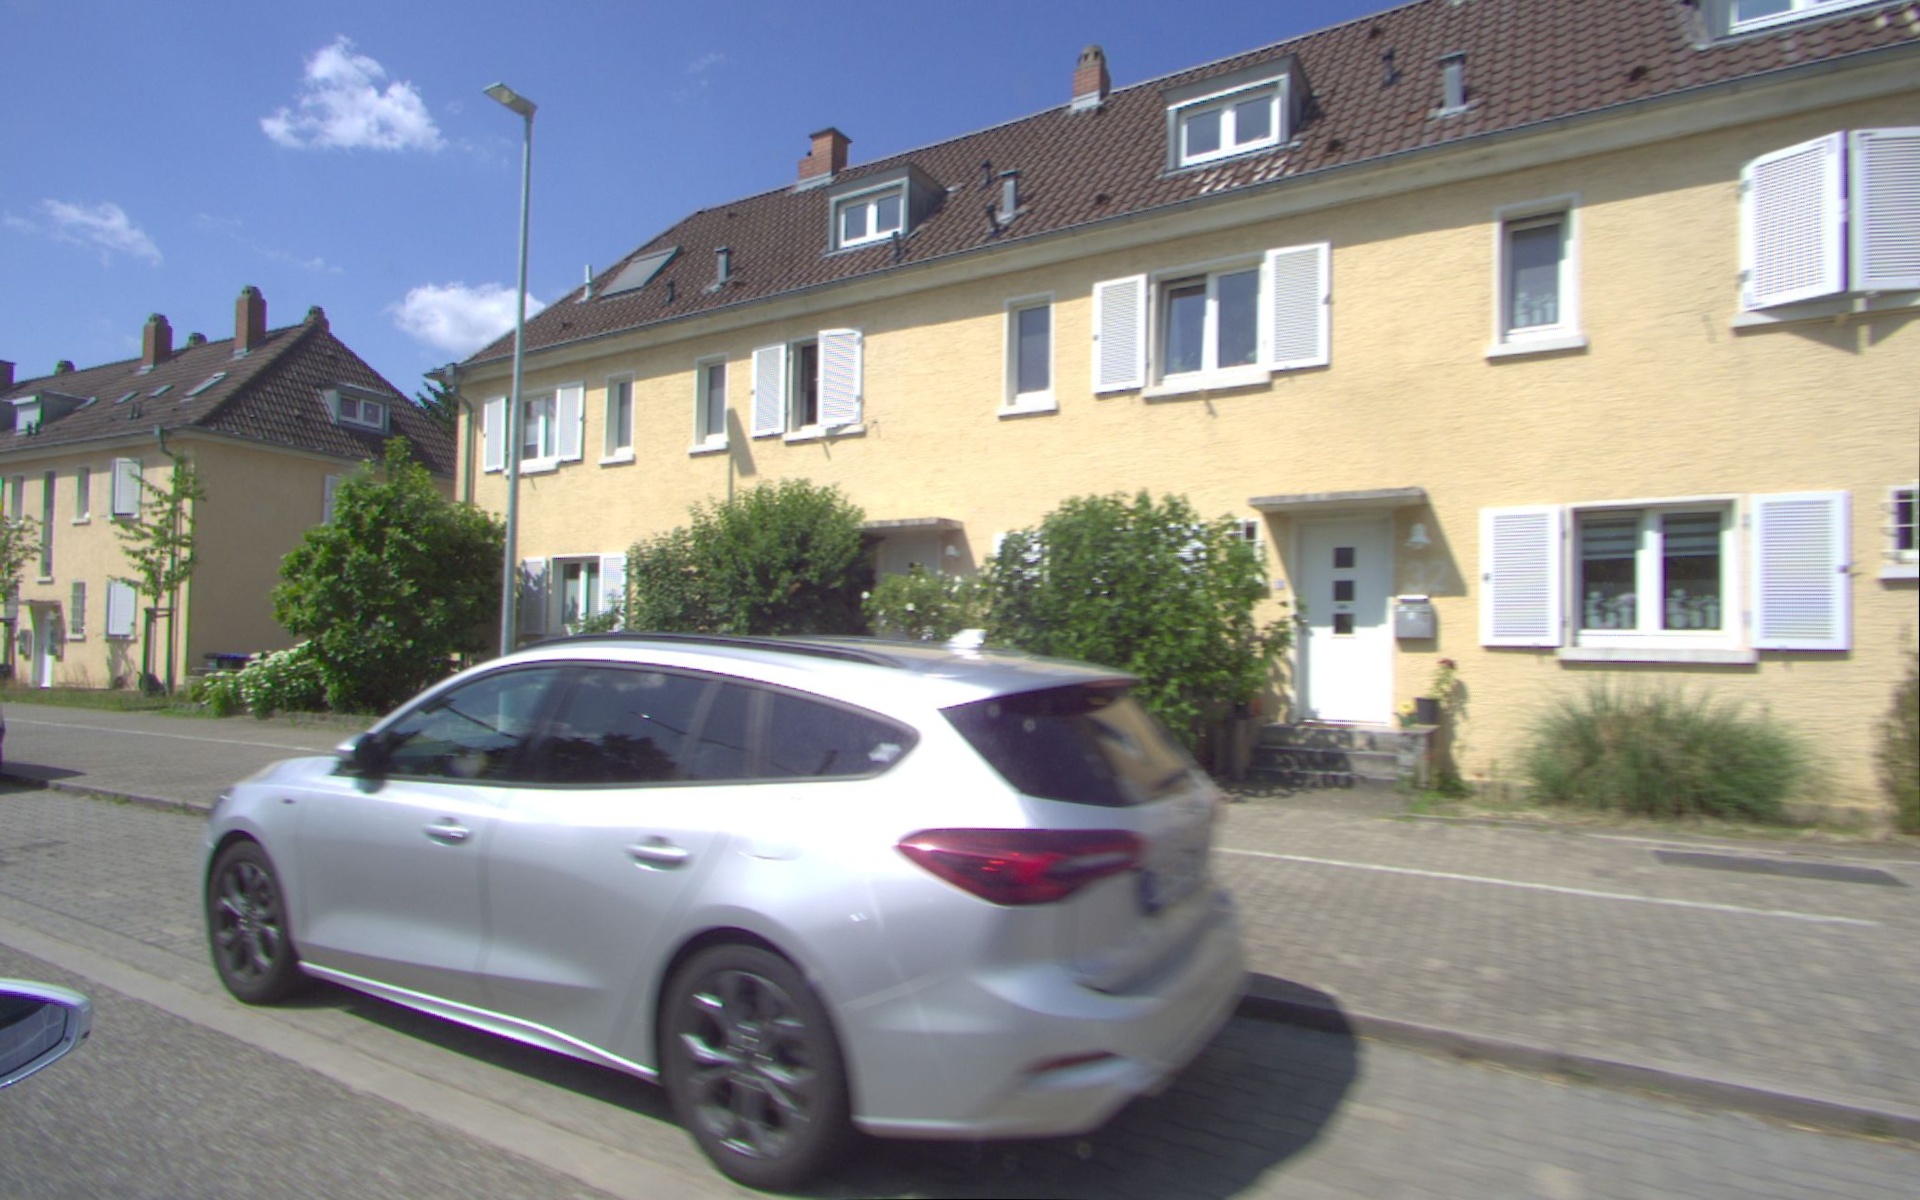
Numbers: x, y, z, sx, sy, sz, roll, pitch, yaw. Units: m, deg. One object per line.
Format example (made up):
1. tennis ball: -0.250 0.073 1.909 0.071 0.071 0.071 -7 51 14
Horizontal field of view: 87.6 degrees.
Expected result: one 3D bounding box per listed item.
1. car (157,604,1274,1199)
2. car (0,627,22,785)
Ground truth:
1. car: -1.158 0.831 3.966 4.321 1.516 1.748 -1 -2 31
2. car: -11.018 1.003 9.903 3.752 1.500 1.526 -1 -2 30
